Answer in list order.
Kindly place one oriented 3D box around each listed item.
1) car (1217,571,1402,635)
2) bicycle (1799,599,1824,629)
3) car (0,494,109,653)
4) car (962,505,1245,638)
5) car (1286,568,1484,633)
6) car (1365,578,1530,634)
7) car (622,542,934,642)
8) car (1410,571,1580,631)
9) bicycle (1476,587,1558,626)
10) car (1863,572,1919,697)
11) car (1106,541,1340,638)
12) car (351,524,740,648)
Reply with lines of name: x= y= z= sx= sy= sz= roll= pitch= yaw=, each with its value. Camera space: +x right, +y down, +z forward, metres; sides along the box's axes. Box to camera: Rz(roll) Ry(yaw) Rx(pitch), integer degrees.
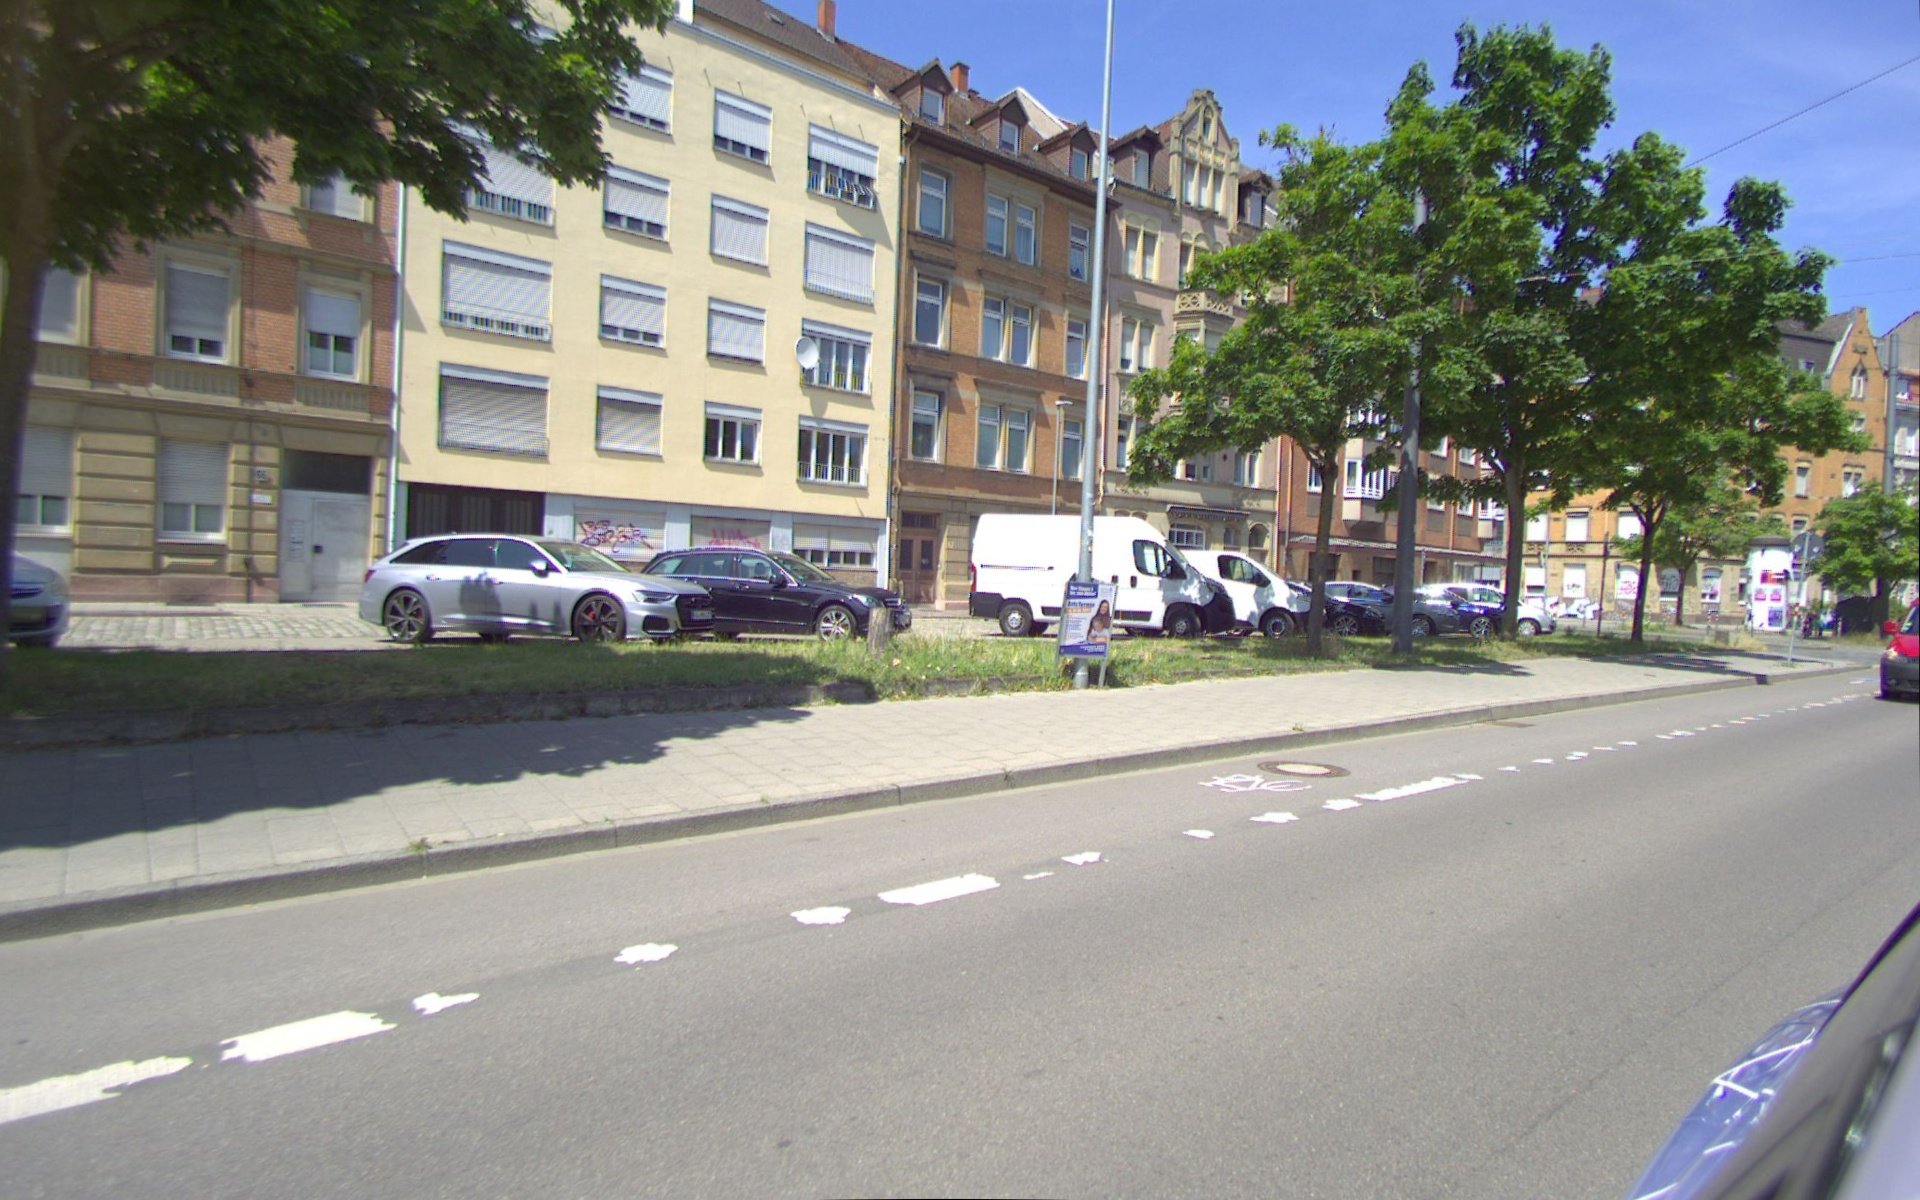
car: x=8.457 y=0.039 z=24.573 sx=3.969 sy=1.404 sz=1.803 roll=2 pitch=1 yaw=32
bicycle: x=34.694 y=0.574 z=41.233 sx=1.679 sy=1.167 sz=0.487 roll=1 pitch=0 yaw=-41
car: x=-10.434 y=-0.289 z=9.636 sx=3.945 sy=1.418 sz=1.703 roll=1 pitch=0 yaw=17
car: x=2.985 y=-0.617 z=20.816 sx=5.474 sy=2.491 sz=2.226 roll=1 pitch=0 yaw=16
car: x=11.115 y=-0.019 z=26.533 sx=4.592 sy=1.516 sz=1.945 roll=2 pitch=1 yaw=29
car: x=13.595 y=0.136 z=28.276 sx=3.969 sy=1.417 sz=1.803 roll=2 pitch=1 yaw=32
car: x=-2.780 y=-0.156 z=15.736 sx=4.370 sy=1.355 sz=1.962 roll=1 pitch=1 yaw=16
car: x=16.023 y=-0.008 z=30.411 sx=4.377 sy=1.652 sz=1.978 roll=2 pitch=1 yaw=31
bicycle: x=18.222 y=0.199 z=33.120 sx=2.313 sy=1.208 sz=0.742 roll=1 pitch=0 yaw=-6
car: x=16.623 y=0.553 z=16.329 sx=5.066 sy=1.857 sz=1.862 roll=1 pitch=1 yaw=-34
car: x=5.900 y=-0.278 z=22.720 sx=4.796 sy=1.998 sz=2.060 roll=2 pitch=0 yaw=24
car: x=-5.505 y=-0.223 z=13.573 sx=4.627 sy=1.445 sz=1.962 roll=1 pitch=1 yaw=16
